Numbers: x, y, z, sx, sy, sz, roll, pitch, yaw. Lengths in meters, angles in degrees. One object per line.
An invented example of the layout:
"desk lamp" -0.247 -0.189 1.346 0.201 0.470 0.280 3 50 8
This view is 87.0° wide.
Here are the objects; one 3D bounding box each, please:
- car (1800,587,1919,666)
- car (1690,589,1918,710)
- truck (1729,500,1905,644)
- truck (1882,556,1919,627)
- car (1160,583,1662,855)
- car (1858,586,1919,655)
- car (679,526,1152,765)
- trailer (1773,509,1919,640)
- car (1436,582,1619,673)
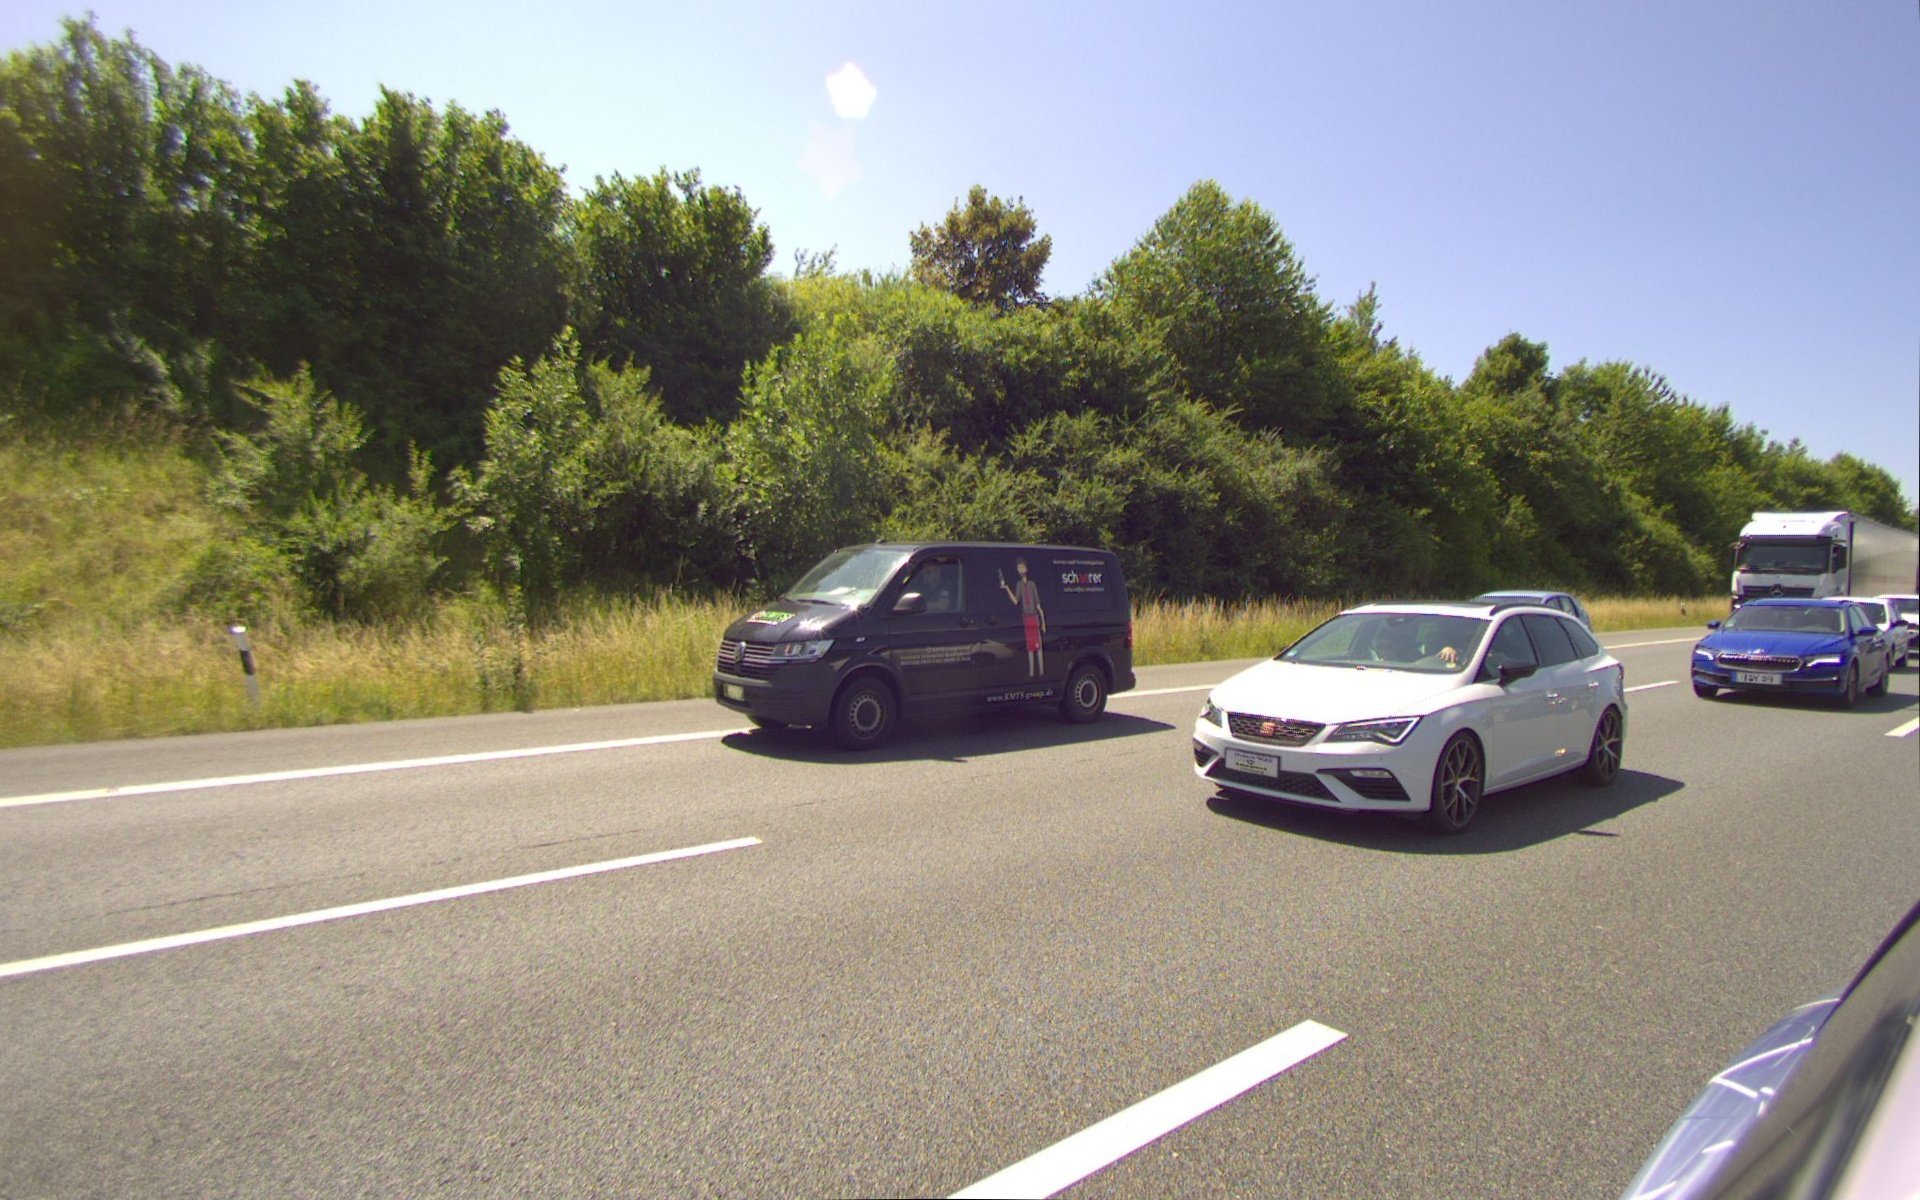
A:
"car" 19.193 0.489 21.344 3.743 1.451 1.609 -1 3 -40
"car" 12.566 0.606 14.971 4.491 1.434 1.780 -1 3 -40
"truck" 28.218 -0.870 33.183 8.322 4.209 2.880 -1 1 -39
"truck" 45.675 -0.409 47.827 5.573 3.185 2.300 0 1 -39
"car" 3.556 0.626 7.614 4.237 1.461 1.751 -1 2 -40
"car" 24.044 0.481 25.339 3.815 1.577 1.748 -1 3 -40
"car" -0.285 0.313 10.589 4.770 1.964 1.918 -1 2 -40
"trailer" 33.558 -0.890 37.484 11.857 4.209 2.880 -1 1 -39
"car" 10.640 0.447 18.886 3.851 1.479 1.666 0 2 -39
